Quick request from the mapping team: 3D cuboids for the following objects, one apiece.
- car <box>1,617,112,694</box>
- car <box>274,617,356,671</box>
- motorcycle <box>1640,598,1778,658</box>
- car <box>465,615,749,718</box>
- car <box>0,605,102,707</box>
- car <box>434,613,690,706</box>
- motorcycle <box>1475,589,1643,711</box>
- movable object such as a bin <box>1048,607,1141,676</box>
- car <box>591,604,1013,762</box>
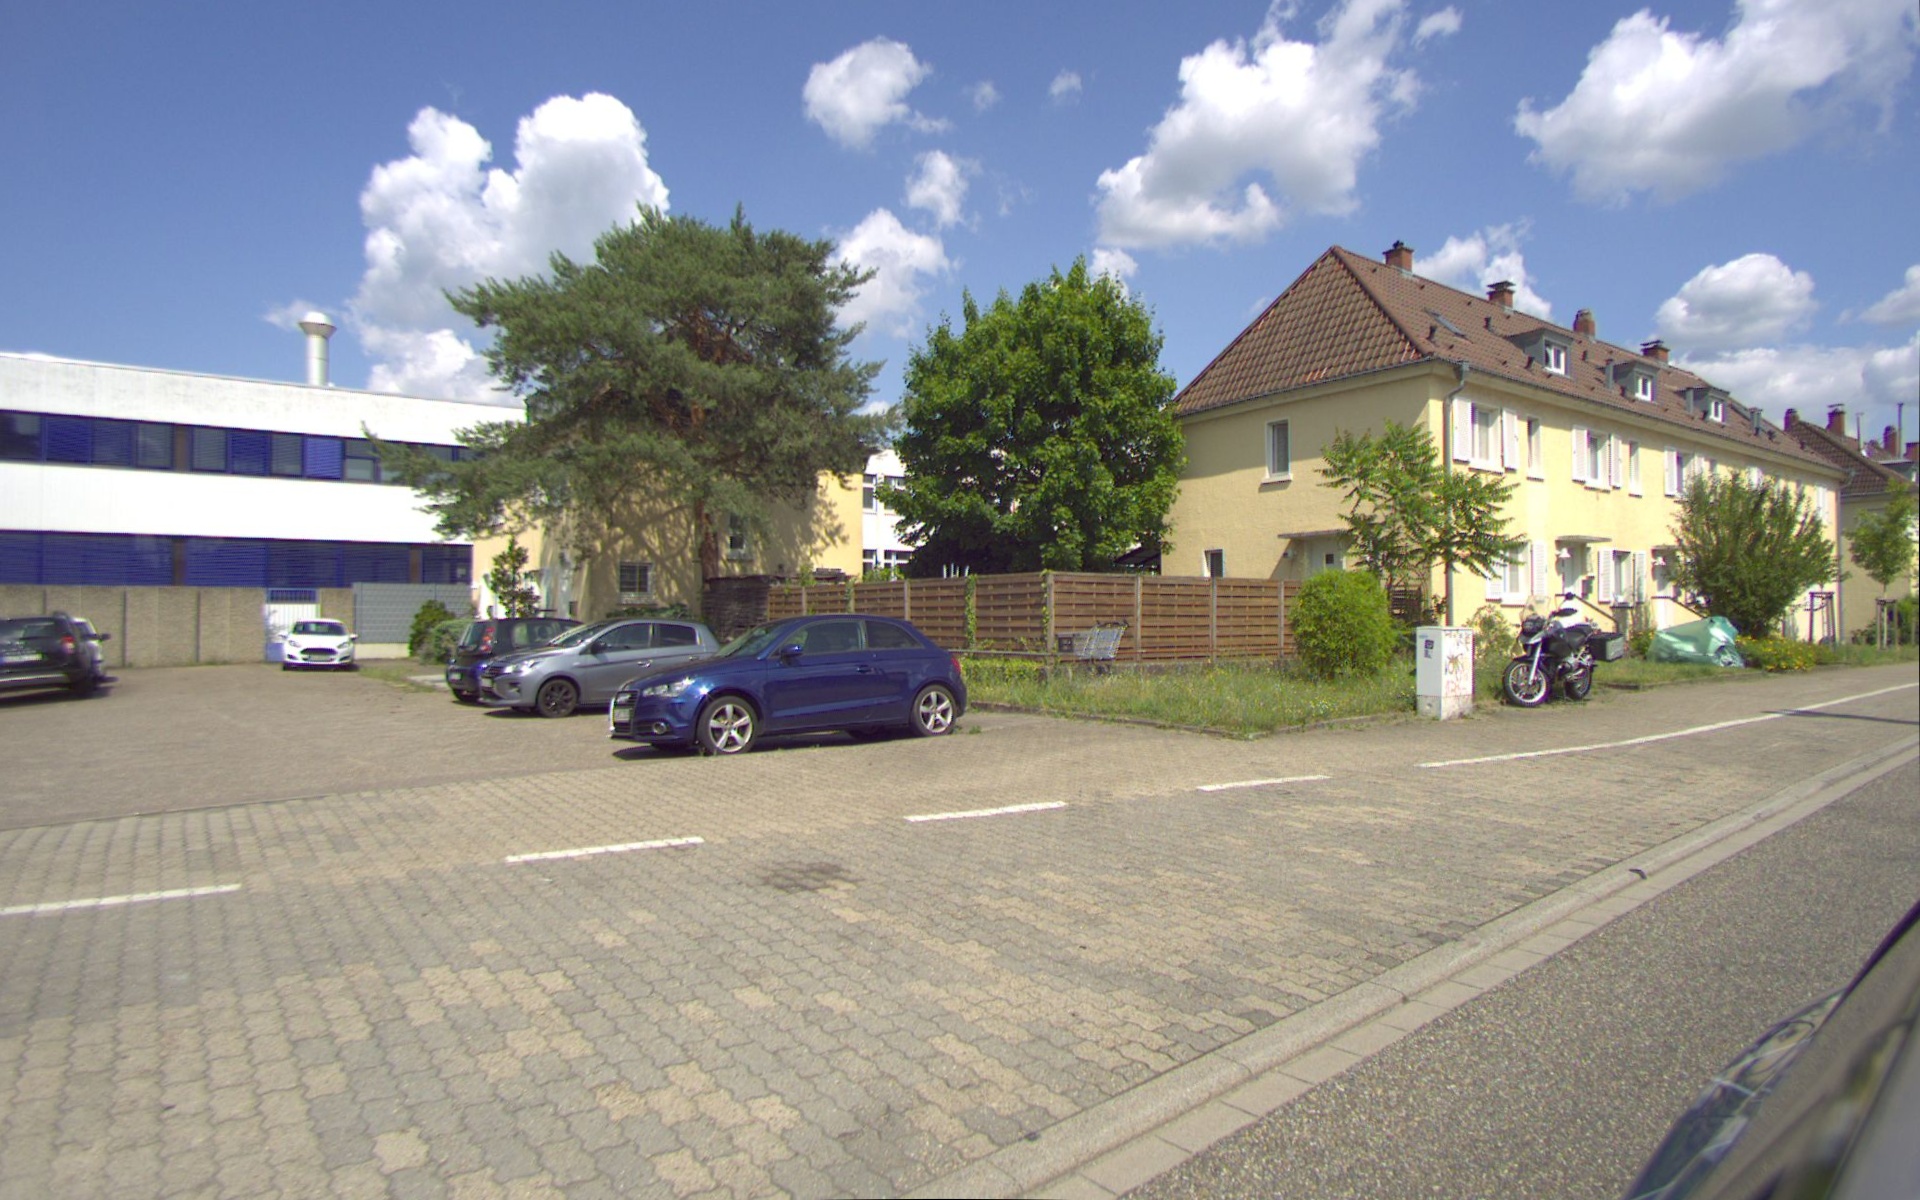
[{"bbox_3d":[-21.144,1.237,23.701,1.728,1.501,4.114,-5,2,-42],"label":"car"},{"bbox_3d":[-18.752,1.232,29.328,1.701,1.406,4.295,4,-3,-36],"label":"car"},{"bbox_3d":[16.108,0.582,21.823,0.838,1.212,2.235,0,-1,-34],"label":"motorcycle"},{"bbox_3d":[-5.385,0.955,15.731,3.865,1.416,1.562,1,-2,-42],"label":"car"},{"bbox_3d":[-17.830,1.027,19.502,1.703,1.709,4.120,-4,1,-38],"label":"car"},{"bbox_3d":[-6.857,0.968,17.695,3.868,1.429,1.540,1,-1,-44],"label":"car"},{"bbox_3d":[8.158,0.617,13.739,2.537,1.488,1.050,0,1,-37],"label":"motorcycle"},{"bbox_3d":[1.964,0.590,14.703,1.262,0.948,0.572,0,-1,-33],"label":"movable object such as a bin"},{"bbox_3d":[-1.580,0.819,10.920,4.206,1.399,1.644,2,-3,-36],"label":"car"}]
